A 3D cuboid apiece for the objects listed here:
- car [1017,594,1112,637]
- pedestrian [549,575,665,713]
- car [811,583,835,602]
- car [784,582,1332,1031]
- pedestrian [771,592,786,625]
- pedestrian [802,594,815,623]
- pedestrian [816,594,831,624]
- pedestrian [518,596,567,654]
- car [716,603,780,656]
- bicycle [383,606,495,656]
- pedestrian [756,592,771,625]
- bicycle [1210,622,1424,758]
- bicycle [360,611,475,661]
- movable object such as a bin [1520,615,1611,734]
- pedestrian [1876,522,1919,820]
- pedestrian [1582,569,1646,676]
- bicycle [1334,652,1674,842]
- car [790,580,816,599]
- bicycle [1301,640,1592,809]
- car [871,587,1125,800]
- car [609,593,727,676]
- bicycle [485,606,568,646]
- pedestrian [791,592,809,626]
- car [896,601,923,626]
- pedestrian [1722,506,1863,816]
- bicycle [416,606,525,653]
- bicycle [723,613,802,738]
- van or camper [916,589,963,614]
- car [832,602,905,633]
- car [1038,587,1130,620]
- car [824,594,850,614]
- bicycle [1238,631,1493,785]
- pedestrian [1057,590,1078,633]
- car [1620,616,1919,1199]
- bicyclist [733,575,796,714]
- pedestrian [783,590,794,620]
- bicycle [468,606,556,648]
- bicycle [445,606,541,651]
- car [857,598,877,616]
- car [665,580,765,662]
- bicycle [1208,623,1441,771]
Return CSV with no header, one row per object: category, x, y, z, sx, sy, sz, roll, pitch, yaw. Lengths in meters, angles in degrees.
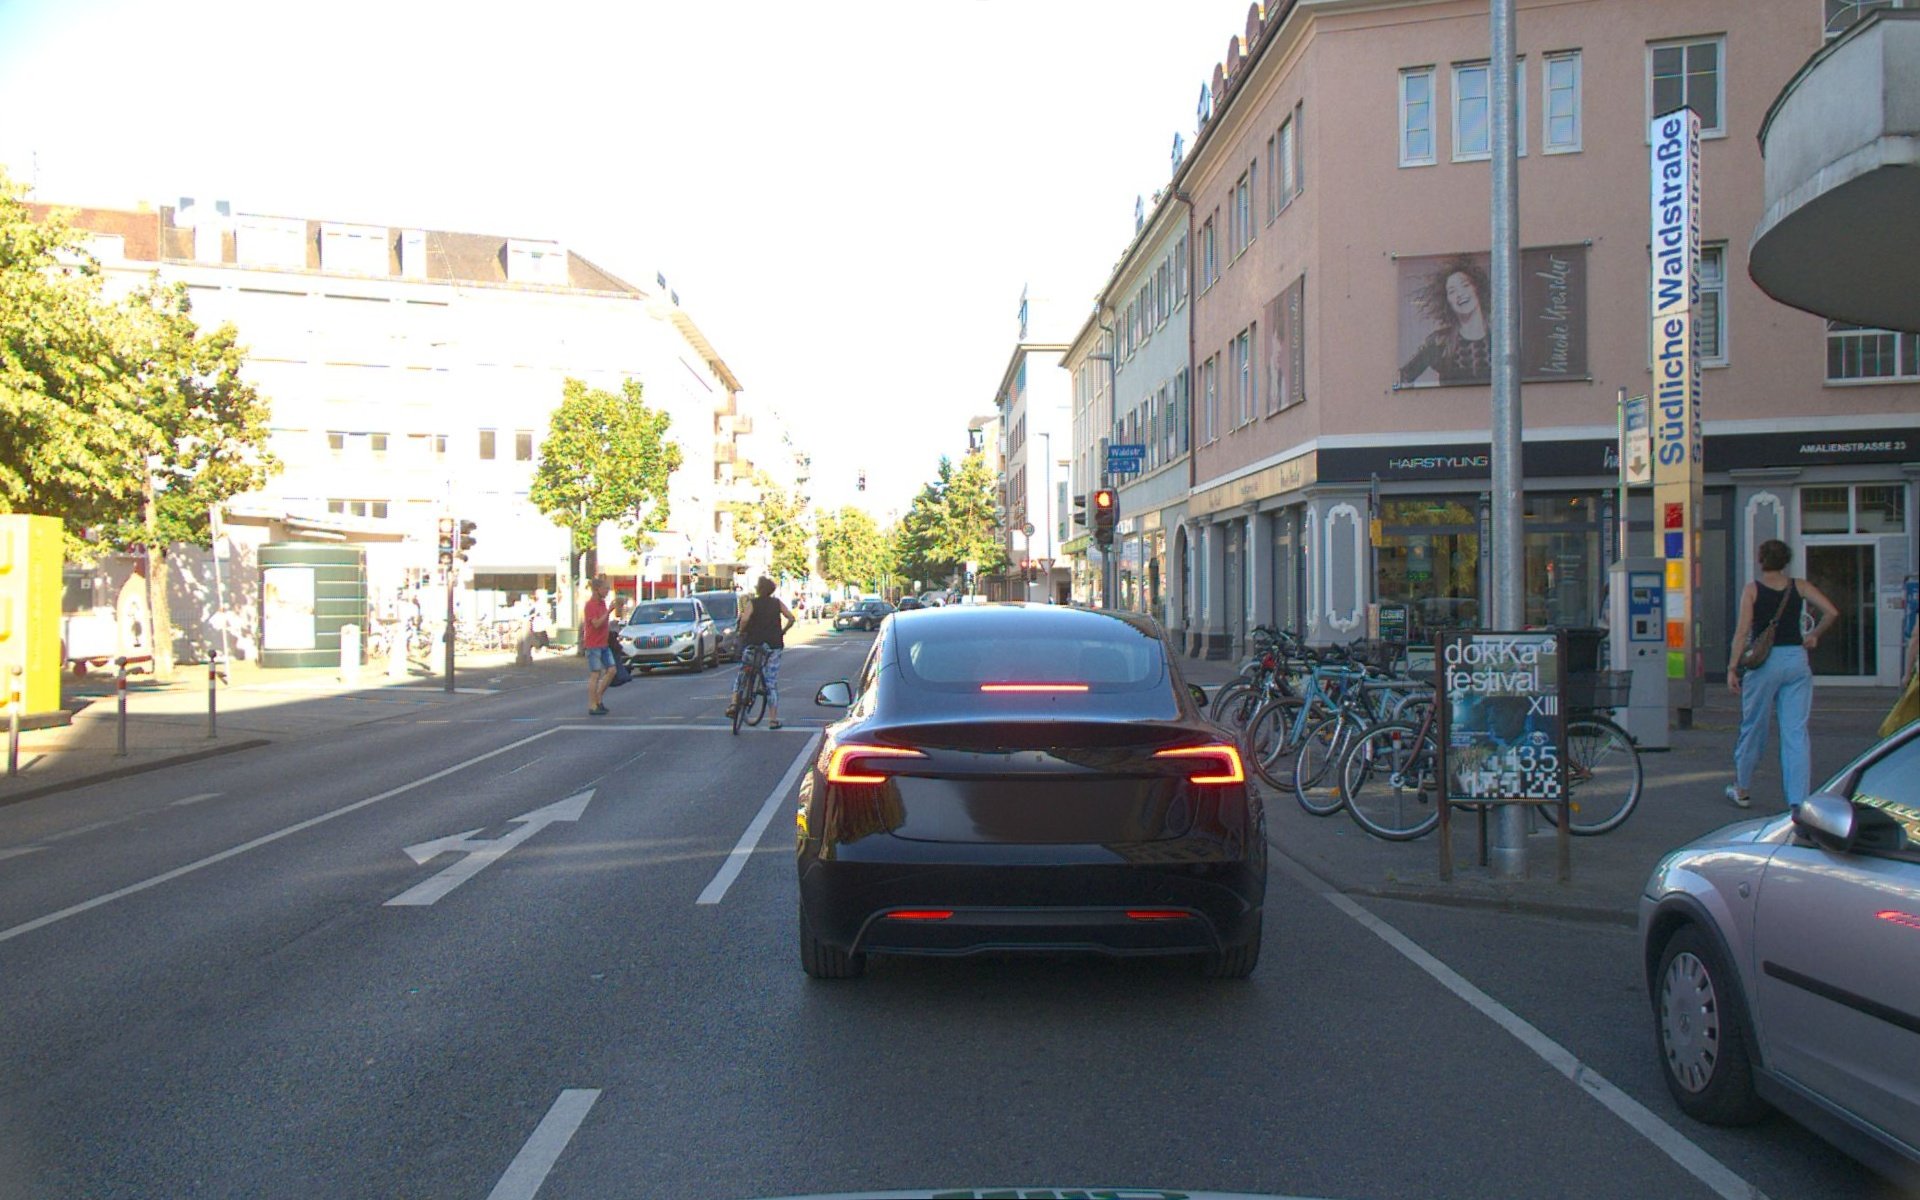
car,4.721,0.702,74.725,3.937,1.900,1.686,0,0,-22
pedestrian,-4.632,0.566,21.763,1.086,1.750,1.062,1,-1,17
car,-15.580,-0.818,188.049,2.228,2.049,4.717,1,0,0
car,0.300,0.701,7.756,1.812,1.472,4.450,1,0,-1
pedestrian,-10.657,0.496,96.962,0.721,1.900,0.787,1,-1,-17
pedestrian,-9.912,0.556,108.189,0.684,1.900,0.905,1,-1,-17
pedestrian,-8.635,0.562,104.298,0.761,1.900,1.005,1,-1,-15
pedestrian,-12.076,0.711,47.895,1.070,1.639,1.266,1,0,-1
car,-6.329,0.855,49.677,1.431,1.455,3.605,-3,0,-1
bicycle,-14.118,0.845,44.909,2.725,1.296,0.932,1,0,-4
pedestrian,-11.470,0.481,96.756,0.721,1.900,0.787,1,-1,-17
bicycle,3.164,0.792,14.761,1.776,1.172,0.653,0,0,0
bicycle,-13.944,0.927,42.572,2.607,1.216,0.942,1,0,-4
movable object such as a bin,6.045,0.732,16.542,0.623,1.122,0.728,-2,0,3
pedestrian,6.155,0.408,10.158,0.706,1.785,0.788,-3,-1,17
pedestrian,9.808,0.333,24.796,0.709,1.576,0.789,1,-1,35
bicycle,3.280,0.876,10.075,1.844,1.062,0.653,-1,0,0
car,-16.998,-1.130,179.393,2.228,2.049,4.717,1,0,0
bicycle,3.251,0.823,11.147,1.776,1.078,0.653,0,0,0
car,0.245,0.687,14.180,1.812,1.507,4.450,1,0,-1
car,-6.318,0.712,36.223,1.788,1.592,4.299,-4,0,-1
bicycle,-14.221,0.859,54.326,2.491,1.273,0.942,1,0,-4
pedestrian,-9.127,0.511,94.307,0.719,1.900,0.790,1,-1,28
car,-3.845,1.030,127.523,1.994,1.819,4.005,0,0,-1
pedestrian,5.306,0.382,10.595,0.667,1.882,0.893,-3,-1,24
bicycle,-13.995,0.832,47.311,2.818,1.292,0.942,1,0,-4
bicycle,-2.180,0.803,18.445,0.615,1.244,2.001,1,1,0
van or camper,-2.049,0.169,167.505,4.752,2.481,1.850,0,0,-1
car,-4.311,0.837,78.282,1.661,1.414,3.910,1,0,28
car,6.669,0.169,88.971,4.638,1.455,1.722,-4,0,-25
car,-12.326,0.394,166.249,2.365,2.004,4.677,0,0,-1
bicycle,3.051,0.806,12.551,1.776,1.121,0.653,0,0,0
pedestrian,4.597,0.487,70.580,0.649,1.790,0.649,1,-1,-24
car,2.922,0.782,3.522,1.551,1.451,3.579,1,0,-1
bicyclist,-2.187,0.483,18.564,0.594,1.510,0.958,1,0,-2
pedestrian,-10.755,0.313,103.701,0.681,1.900,0.658,1,-1,-6
bicycle,-14.055,0.852,51.904,2.491,1.273,0.942,1,0,-4
bicycle,-14.003,0.847,49.629,2.609,1.281,0.942,1,0,-4
car,-10.481,0.828,186.953,2.089,2.004,4.133,0,0,-1
car,-6.226,0.507,42.551,1.906,1.981,4.819,0,0,-1
bicycle,2.980,0.784,13.624,1.776,1.172,0.653,0,0,0
